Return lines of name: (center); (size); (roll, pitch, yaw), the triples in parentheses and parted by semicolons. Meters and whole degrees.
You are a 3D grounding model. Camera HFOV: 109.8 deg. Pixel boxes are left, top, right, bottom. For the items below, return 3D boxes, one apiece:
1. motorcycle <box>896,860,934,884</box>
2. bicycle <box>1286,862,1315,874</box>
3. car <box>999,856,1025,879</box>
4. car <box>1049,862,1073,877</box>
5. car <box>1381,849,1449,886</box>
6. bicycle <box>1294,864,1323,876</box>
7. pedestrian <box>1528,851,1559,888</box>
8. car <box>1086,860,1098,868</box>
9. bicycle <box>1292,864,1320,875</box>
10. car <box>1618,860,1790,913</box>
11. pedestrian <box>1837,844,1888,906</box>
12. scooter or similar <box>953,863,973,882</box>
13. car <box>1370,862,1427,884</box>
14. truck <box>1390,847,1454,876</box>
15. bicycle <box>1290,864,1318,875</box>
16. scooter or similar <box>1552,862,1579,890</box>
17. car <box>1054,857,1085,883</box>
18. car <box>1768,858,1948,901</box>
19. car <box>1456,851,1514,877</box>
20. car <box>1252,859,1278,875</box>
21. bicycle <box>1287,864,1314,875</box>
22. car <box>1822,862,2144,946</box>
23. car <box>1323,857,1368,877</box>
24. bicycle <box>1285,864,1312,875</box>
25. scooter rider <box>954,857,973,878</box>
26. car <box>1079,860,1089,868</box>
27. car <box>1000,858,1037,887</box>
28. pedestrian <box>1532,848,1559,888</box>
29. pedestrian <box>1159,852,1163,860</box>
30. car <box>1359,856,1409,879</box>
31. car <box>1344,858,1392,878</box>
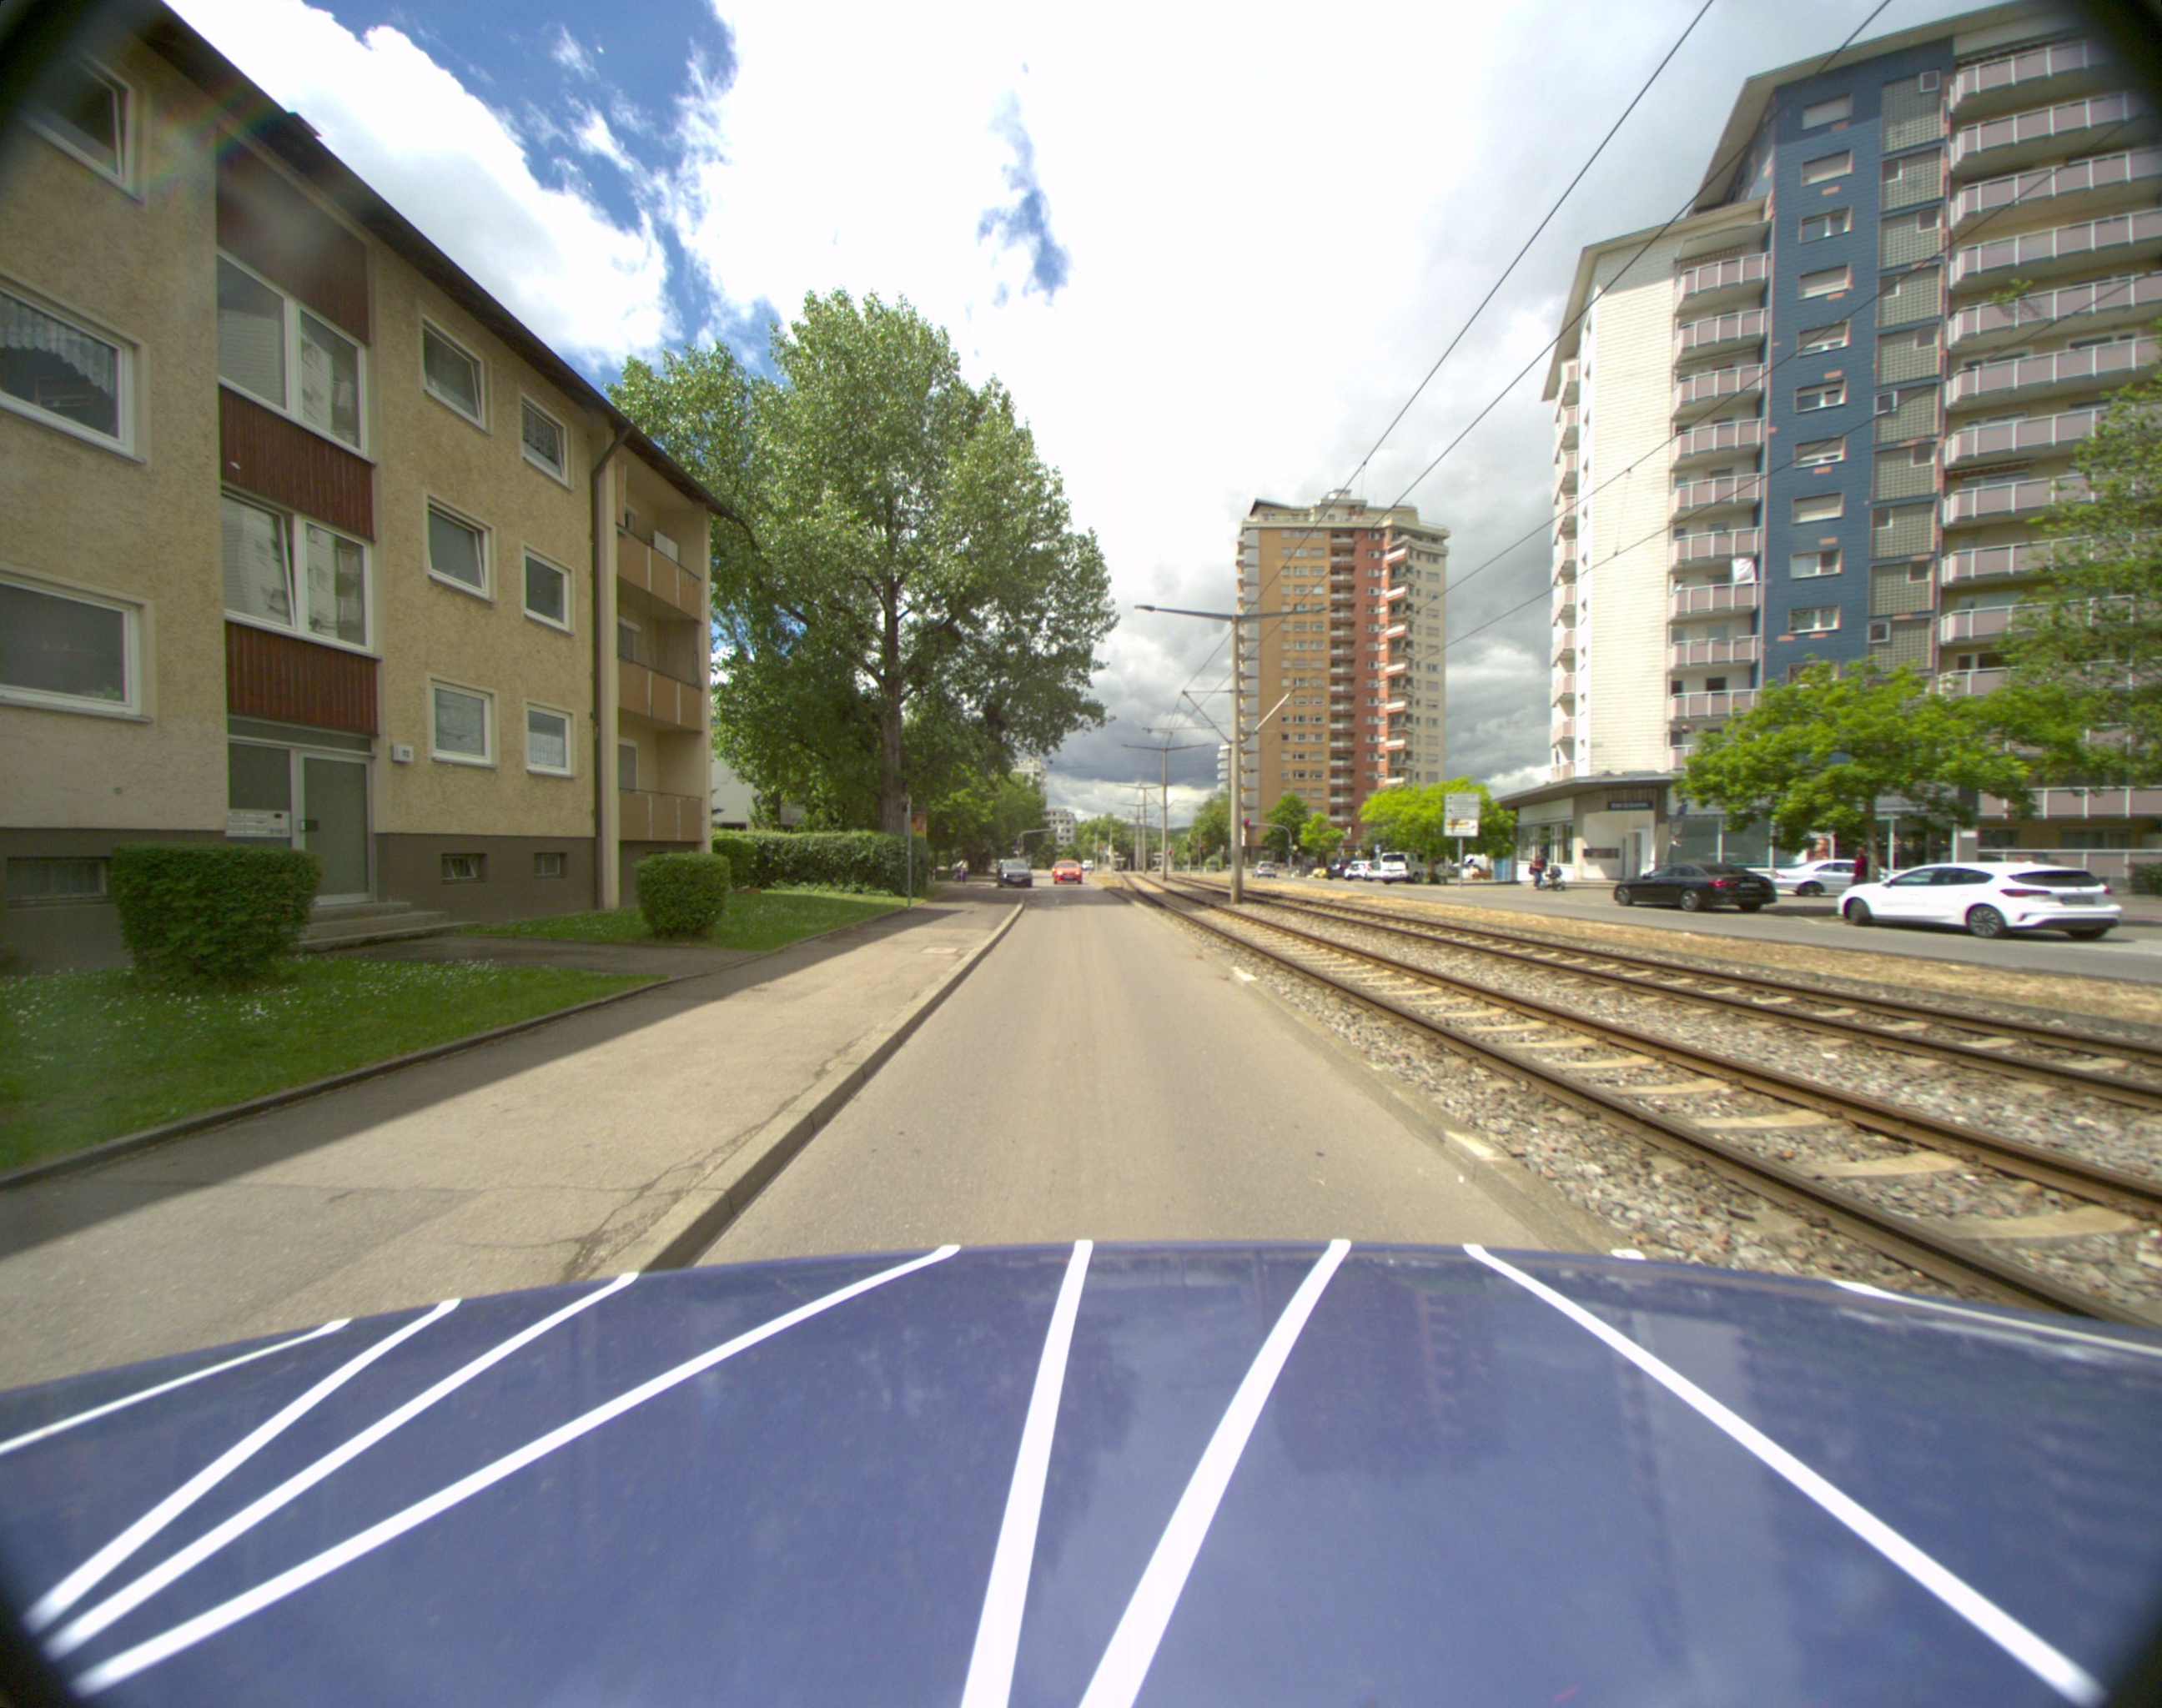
motorcycle: (-8.624, 0.953, 39.517); (1.803, 1.203, 0.711); (1, 0, -22)
bicycle: (20.101, 1.307, 69.631); (2.433, 1.028, 0.717); (-1, 0, 2)
car: (-4.950, 0.964, 54.907); (1.789, 1.556, 4.568); (1, -1, -4)
car: (-1.772, 1.419, 68.406); (1.998, 1.280, 4.000); (1, -1, 0)
car: (20.623, 0.846, 46.854); (4.772, 2.144, 1.901); (2, -1, -41)
bicycle: (21.166, 1.448, 70.786); (2.433, 1.059, 0.705); (1, 0, 2)
pedestrian: (20.537, 0.690, 33.754); (0.516, 1.563, 0.983); (-6, 4, -27)
car: (1.695, 1.565, 118.181); (1.805, 1.207, 4.023); (1, -1, 2)
bicycle: (21.167, 1.458, 71.561); (2.433, 1.059, 0.705); (1, 0, 2)
car: (18.436, 0.899, 22.805); (1.738, 1.420, 4.381); (-1, 0, 3)
pedestrian: (22.895, 0.615, 22.265); (0.612, 1.782, 0.843); (1, 0, 0)
scooter or similar: (-6.757, 1.061, 43.639); (0.892, 1.058, 2.114); (1, -1, -2)
car: (21.607, 1.294, 51.657); (4.009, 1.375, 1.901); (2, -1, -41)
truck: (44.623, 0.973, 99.602); (7.090, 3.652, 2.549); (1, 0, 8)
bicycle: (21.190, 1.468, 72.293); (2.433, 1.059, 0.705); (1, 0, 2)
scooter or similar: (21.044, 0.952, 33.012); (0.581, 1.118, 0.767); (-6, 4, -27)
car: (-0.725, 0.963, 47.195); (1.819, 1.483, 3.999); (0, 0, -2)
car: (28.354, 0.902, 27.973); (4.343, 1.434, 2.005); (1, -1, 36)
car: (52.220, 1.288, 98.311); (6.294, 3.279, 2.002); (1, 0, 10)
car: (17.519, 1.240, 72.501); (1.822, 1.523, 3.756); (1, -1, 5)
bicycle: (21.132, 1.478, 73.168); (2.433, 1.059, 0.705); (1, 0, 2)
car: (18.321, 0.919, 15.836); (1.757, 1.466, 4.403); (1, -1, 6)
car: (21.791, 1.108, 62.457); (1.927, 1.582, 4.009); (1, -1, 44)
bicycle: (21.147, 1.489, 73.967); (2.433, 1.059, 0.705); (1, 0, 2)
scooter rider: (-6.755, 0.774, 43.621); (0.887, 1.213, 1.282); (1, -1, -2)
car: (0.557, 1.831, 134.271); (1.780, 1.319, 3.726); (1, -1, 0)
car: (-3.298, 0.987, 40.769); (1.820, 1.440, 3.825); (1, -1, -3)
pedestrian: (21.468, 0.653, 35.117); (0.842, 1.782, 0.875); (1, 0, 15)
pedestrian: (15.960, 0.391, 151.608); (0.865, 1.596, 0.747); (1, 0, 2)
car: (22.044, 0.973, 55.277); (4.009, 1.622, 1.901); (2, -1, -45)
car: (21.833, 1.058, 57.755); (3.774, 1.487, 1.742); (2, -1, -39)
